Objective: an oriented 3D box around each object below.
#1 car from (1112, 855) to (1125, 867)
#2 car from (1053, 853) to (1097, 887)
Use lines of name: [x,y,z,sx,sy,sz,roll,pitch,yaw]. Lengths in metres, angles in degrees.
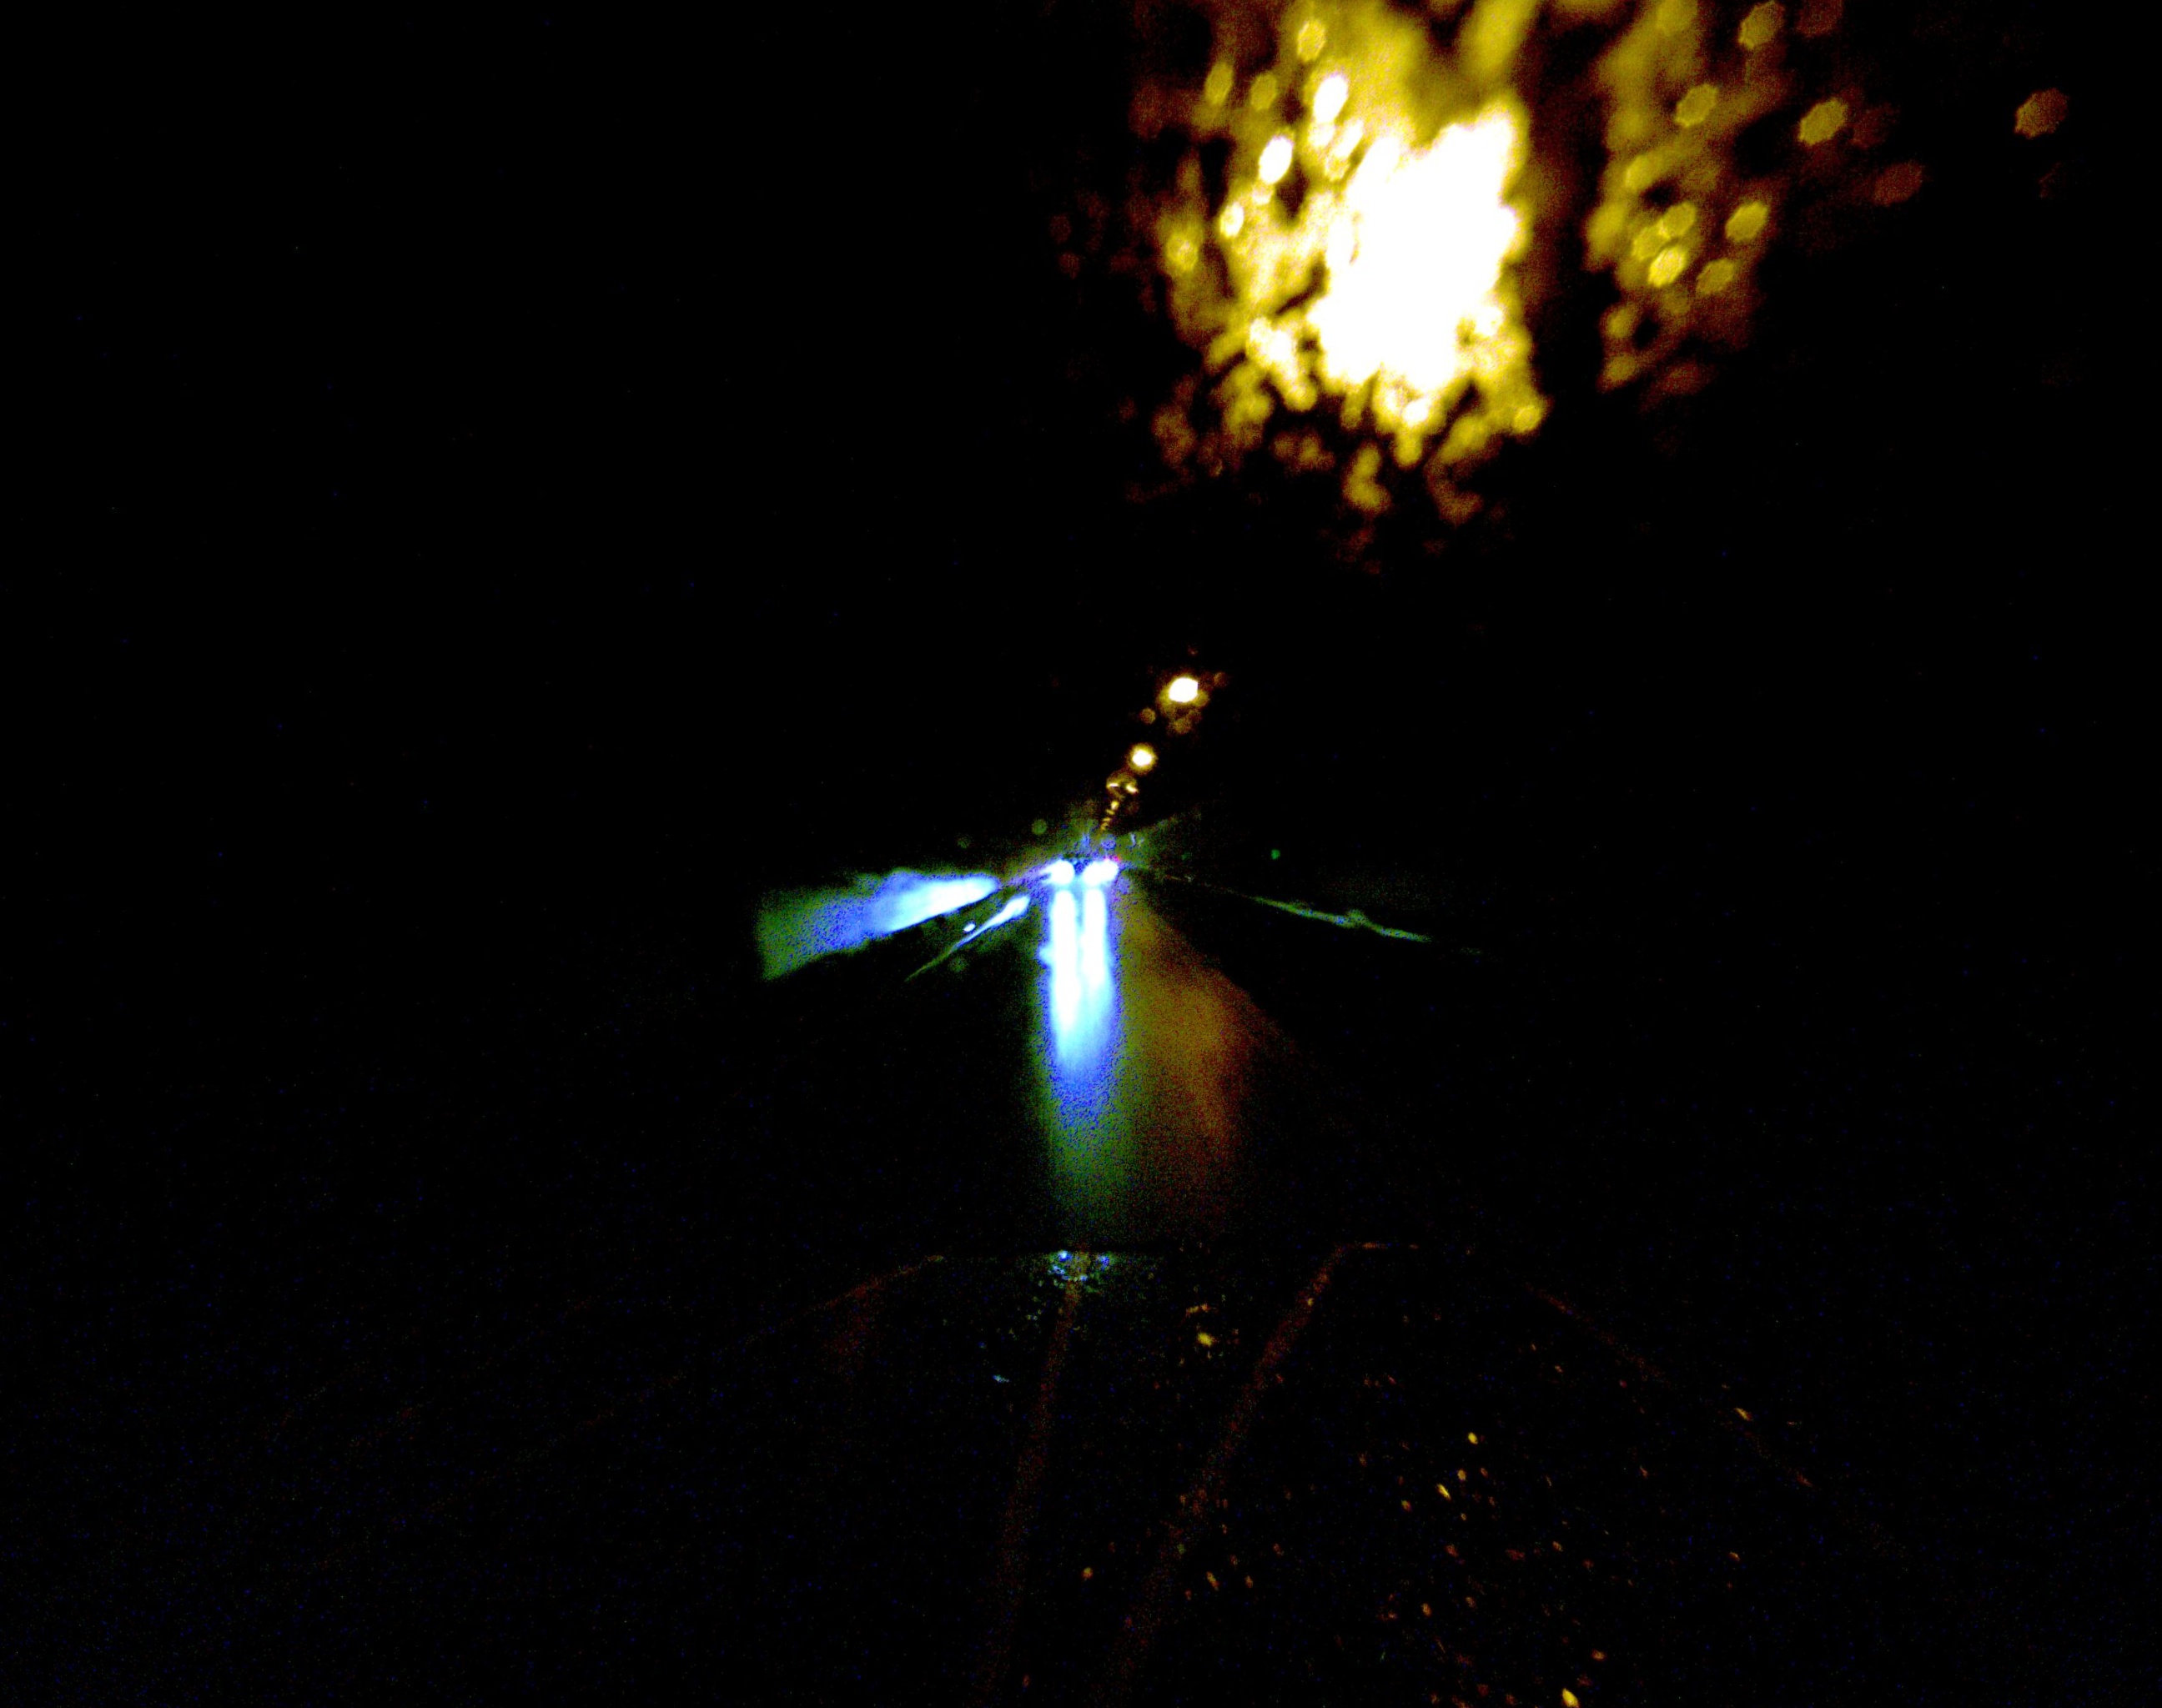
car: [4.956,0.906,100.094,1.639,1.593,4.146,-1,0,2]
car: [-0.222,0.740,35.709,1.627,1.487,3.587,-1,0,7]
